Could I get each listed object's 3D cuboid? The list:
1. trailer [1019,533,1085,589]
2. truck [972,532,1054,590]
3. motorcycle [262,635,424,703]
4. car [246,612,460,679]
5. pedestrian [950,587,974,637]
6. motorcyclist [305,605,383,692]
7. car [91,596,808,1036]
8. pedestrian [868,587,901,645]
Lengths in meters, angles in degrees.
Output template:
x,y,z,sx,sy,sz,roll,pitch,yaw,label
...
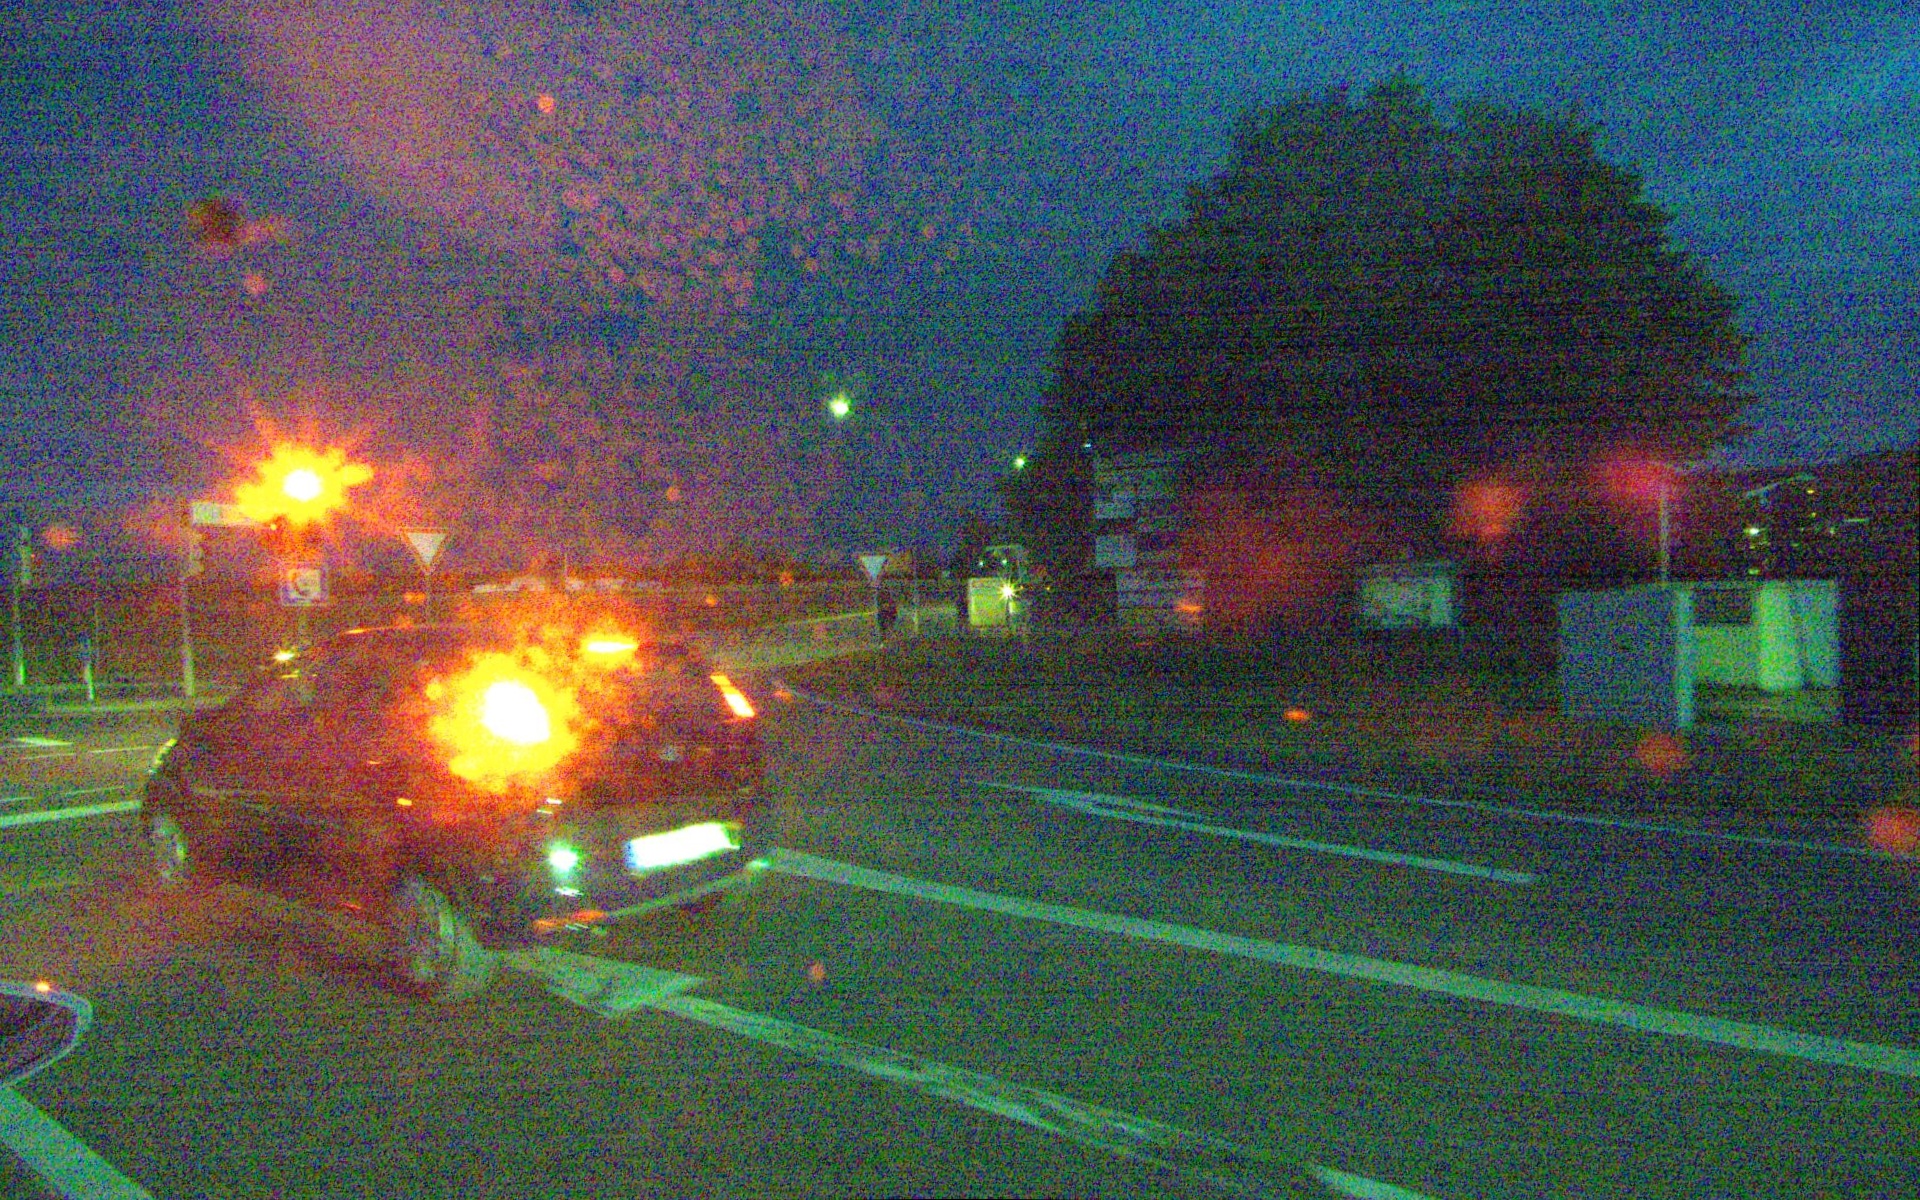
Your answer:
x,y,z,sx,sy,sz,roll,pitch,yaw,label
7.840,-3.321,83.962,2.875,4.361,9.042,-1,3,22,trailer
4.142,-2.821,75.373,2.876,4.033,10.041,-1,1,23,truck
-11.832,1.281,19.280,0.971,1.113,2.486,0,1,42,motorcycle
-16.392,1.153,27.294,1.972,1.541,4.589,0,1,33,car
0.067,0.459,39.549,0.860,1.925,0.660,-1,1,6,pedestrian
-11.933,0.902,19.402,1.128,1.606,0.964,0,1,41,motorcyclist
-2.879,0.796,5.337,4.049,1.540,1.666,-1,-1,34,car
-2.479,0.519,33.096,0.861,1.859,0.731,-3,1,6,pedestrian
